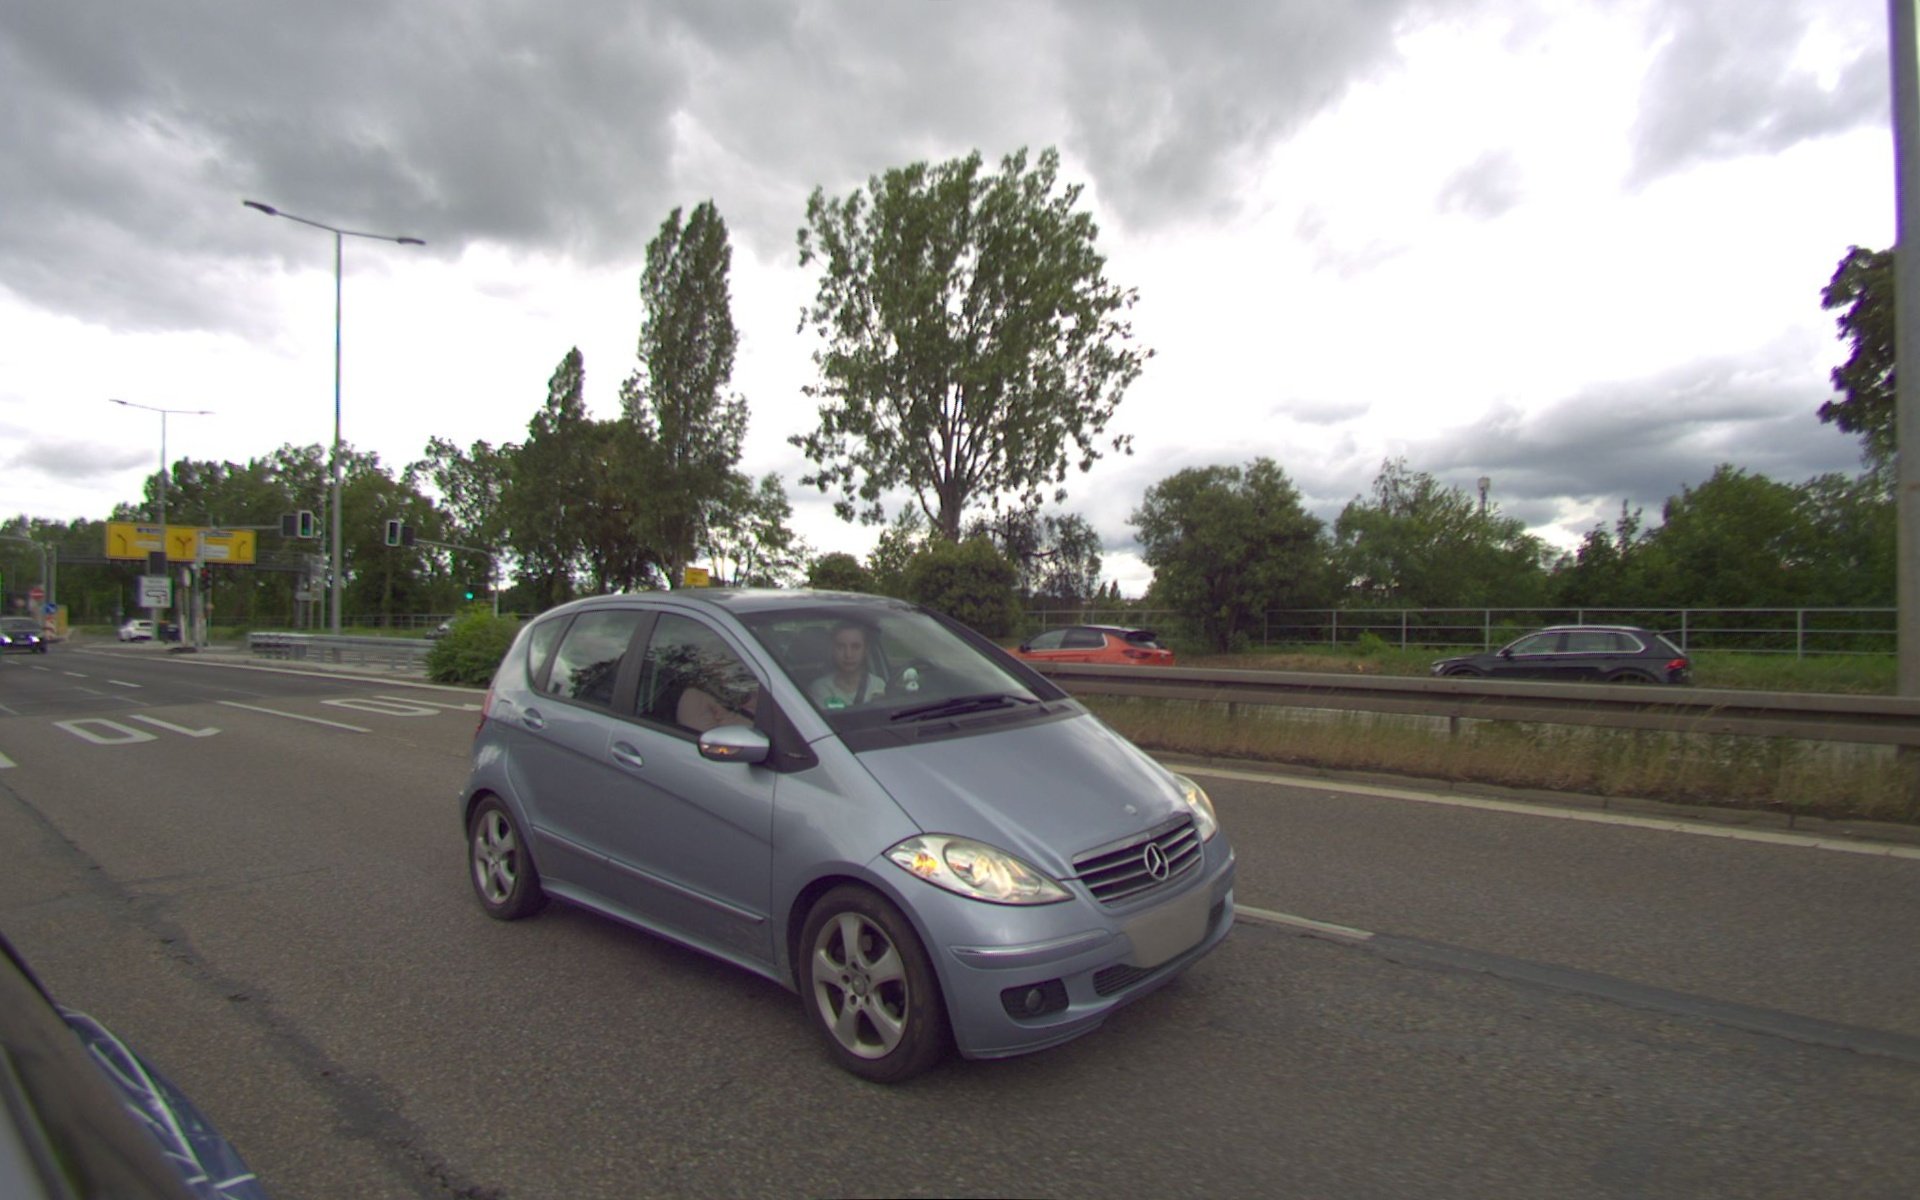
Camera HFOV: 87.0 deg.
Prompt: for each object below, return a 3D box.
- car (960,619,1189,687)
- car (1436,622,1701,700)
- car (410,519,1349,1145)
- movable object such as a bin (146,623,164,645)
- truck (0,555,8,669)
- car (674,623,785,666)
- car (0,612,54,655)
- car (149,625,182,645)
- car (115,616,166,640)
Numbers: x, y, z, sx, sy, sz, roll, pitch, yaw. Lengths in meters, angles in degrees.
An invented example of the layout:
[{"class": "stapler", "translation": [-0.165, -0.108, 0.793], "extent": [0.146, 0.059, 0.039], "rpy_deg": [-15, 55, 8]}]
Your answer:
[{"class": "car", "translation": [2.021, 0.917, 18.662], "extent": [4.065, 1.114, 1.529], "rpy_deg": [-1, -2, 41]}, {"class": "car", "translation": [11.333, 1.071, 19.005], "extent": [4.059, 1.309, 1.562], "rpy_deg": [-1, -2, 41]}, {"class": "car", "translation": [-0.657, 0.615, 4.580], "extent": [4.143, 1.551, 1.859], "rpy_deg": [-1, -2, 40]}, {"class": "movable object such as a bin", "translation": [-37.566, 1.583, 47.214], "extent": [0.622, 1.032, 0.563], "rpy_deg": [-1, -2, 45]}, {"class": "truck", "translation": [-32.192, 0.413, 31.299], "extent": [12.499, 3.163, 2.623], "rpy_deg": [-1, -2, 40]}, {"class": "car", "translation": [-8.132, 1.524, 35.552], "extent": [4.065, 1.429, 1.758], "rpy_deg": [-1, -2, 41]}, {"class": "car", "translation": [-39.946, 1.391, 42.803], "extent": [4.143, 1.738, 1.859], "rpy_deg": [-1, -2, 40]}, {"class": "car", "translation": [-60.651, 2.691, 77.232], "extent": [2.631, 1.487, 1.489], "rpy_deg": [-1, -4, 41]}, {"class": "car", "translation": [-55.374, 1.870, 68.362], "extent": [4.998, 1.537, 1.680], "rpy_deg": [-1, -4, 40]}]
